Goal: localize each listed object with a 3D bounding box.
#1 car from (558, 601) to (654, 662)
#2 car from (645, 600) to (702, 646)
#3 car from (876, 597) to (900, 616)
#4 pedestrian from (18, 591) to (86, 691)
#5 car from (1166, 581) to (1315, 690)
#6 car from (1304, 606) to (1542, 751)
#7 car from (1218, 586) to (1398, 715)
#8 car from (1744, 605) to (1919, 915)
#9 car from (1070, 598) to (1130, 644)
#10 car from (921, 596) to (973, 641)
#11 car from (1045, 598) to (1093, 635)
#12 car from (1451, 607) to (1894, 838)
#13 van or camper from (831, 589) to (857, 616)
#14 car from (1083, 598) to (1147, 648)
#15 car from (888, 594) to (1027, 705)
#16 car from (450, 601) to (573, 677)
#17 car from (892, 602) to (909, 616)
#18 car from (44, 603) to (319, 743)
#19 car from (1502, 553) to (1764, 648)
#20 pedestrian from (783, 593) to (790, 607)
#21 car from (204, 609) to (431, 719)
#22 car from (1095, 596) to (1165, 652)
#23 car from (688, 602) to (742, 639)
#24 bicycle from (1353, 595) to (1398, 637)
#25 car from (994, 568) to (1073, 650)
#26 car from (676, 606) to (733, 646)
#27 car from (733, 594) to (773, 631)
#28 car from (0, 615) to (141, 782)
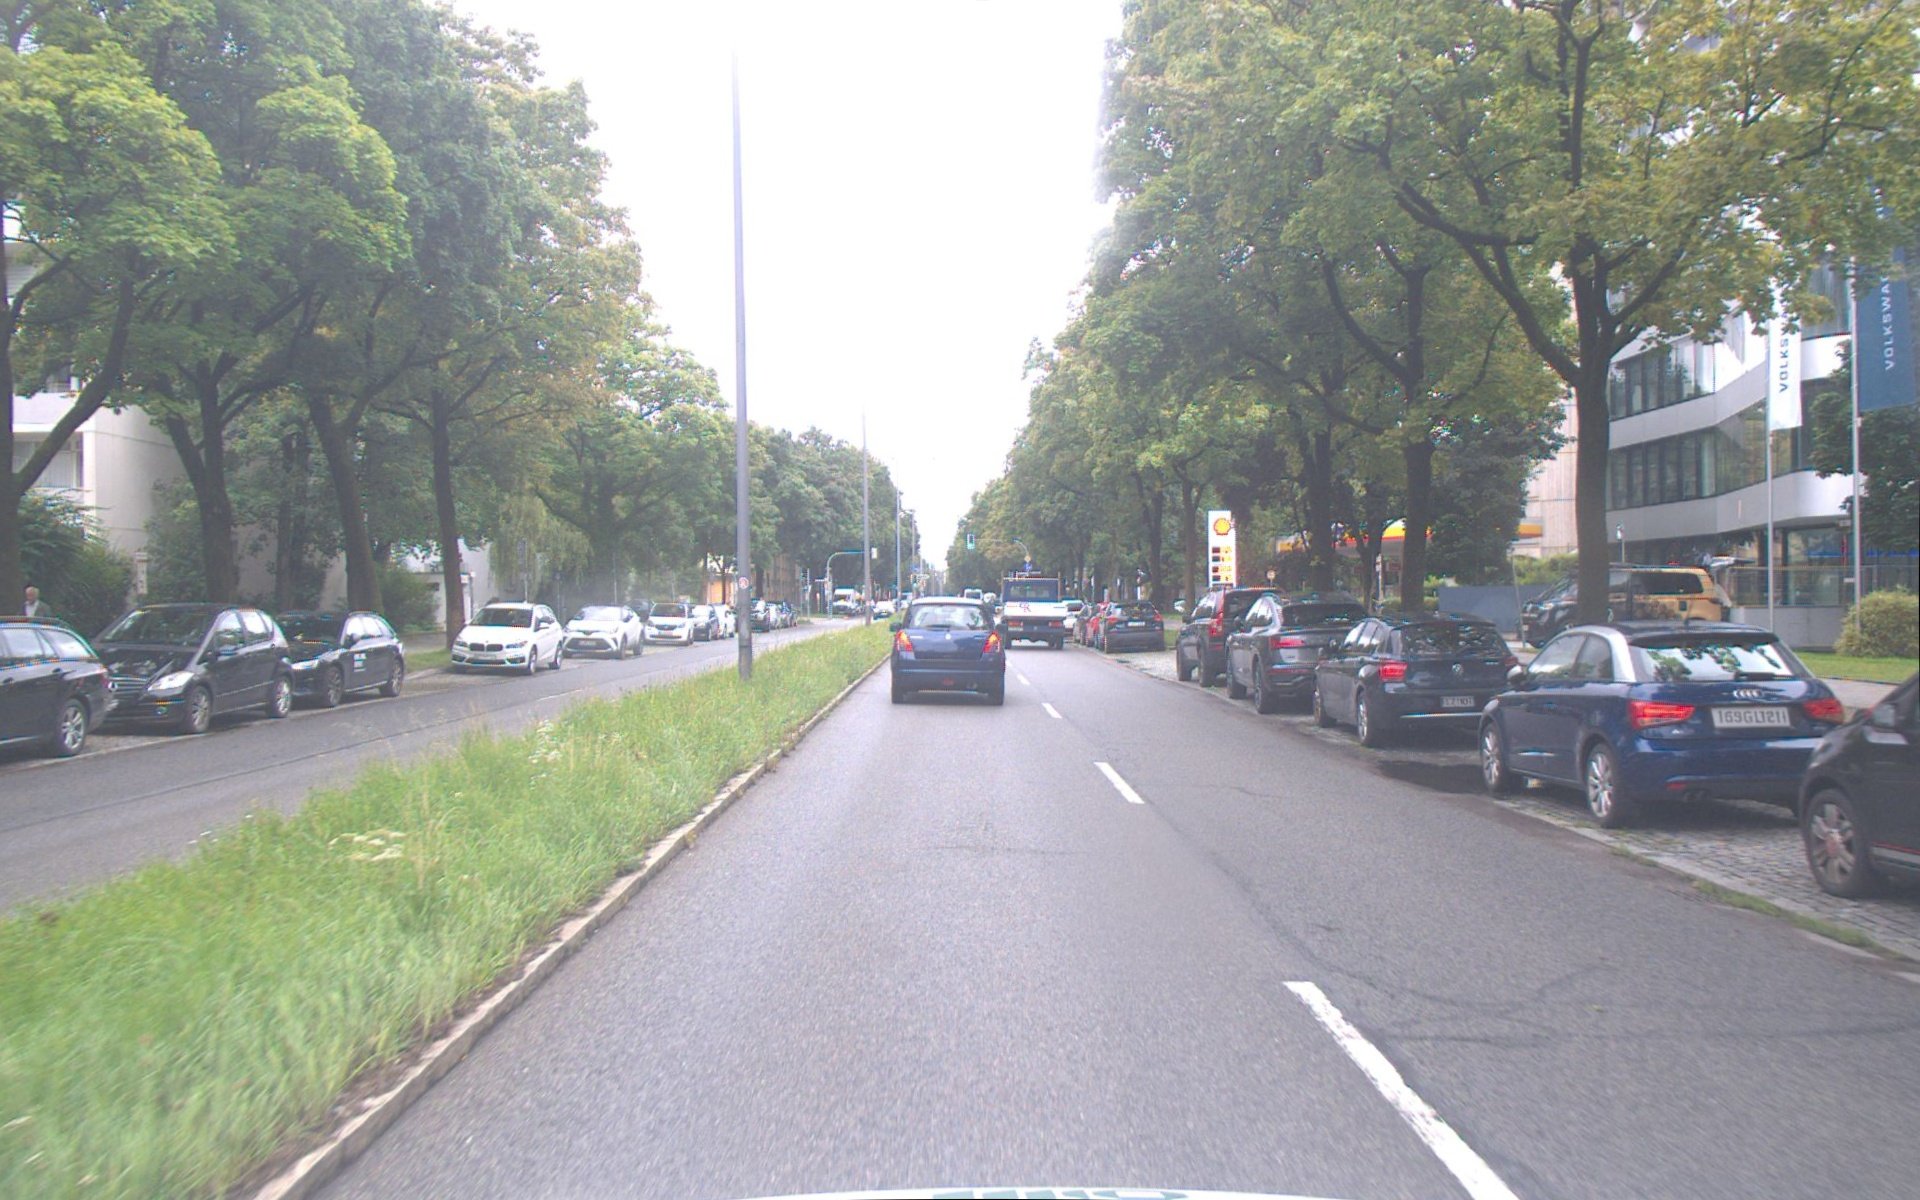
[{"bbox_3d":[-10.389,0.883,48.821,1.795,1.637,4.491,2,0,0],"label":"car"},{"bbox_3d":[-10.701,0.850,61.875,1.657,1.593,3.078,2,0,-3],"label":"car"},{"bbox_3d":[-5.742,0.520,131.664,1.703,1.465,4.215,-1,0,0],"label":"car"},{"bbox_3d":[-15.688,0.697,28.590,0.832,1.685,0.608,-1,0,-4],"label":"pedestrian"},{"bbox_3d":[5.133,0.610,30.904,1.854,1.831,4.860,-1,0,-1],"label":"car"},{"bbox_3d":[5.281,0.827,19.471,1.666,1.433,4.514,-1,0,2],"label":"car"},{"bbox_3d":[5.094,0.670,24.837,1.775,1.705,4.801,-1,0,2],"label":"car"},{"bbox_3d":[5.483,0.774,7.784,1.667,1.472,3.978,-1,0,0],"label":"car"},{"bbox_3d":[4.957,0.714,59.029,1.641,1.479,4.582,-3,0,-1],"label":"car"},{"bbox_3d":[-0.471,0.638,59.409,1.762,1.525,3.659,-1,0,-1],"label":"car"},{"bbox_3d":[4.784,0.709,73.274,1.725,1.479,4.632,-3,0,-1],"label":"car"},{"bbox_3d":[5.316,0.818,12.979,1.667,1.446,4.120,-1,0,0],"label":"car"},{"bbox_3d":[-11.250,0.250,160.747,2.096,2.519,6.258,-1,0,0],"label":"van or camper"},{"bbox_3d":[5.066,0.721,54.606,1.641,1.527,4.021,-3,0,-1],"label":"car"},{"bbox_3d":[-0.111,0.688,24.884,1.858,1.525,3.657,1,0,-3],"label":"car"},{"bbox_3d":[-10.464,0.872,38.920,1.721,1.622,4.488,2,0,-2],"label":"car"},{"bbox_3d":[-6.419,0.983,178.429,1.702,1.467,4.102,-1,0,-1],"label":"car"},{"bbox_3d":[-10.276,0.890,22.210,1.651,1.625,4.210,2,0,0],"label":"car"},{"bbox_3d":[15.912,0.011,39.297,5.359,2.120,2.146,-1,0,-1],"label":"car"},{"bbox_3d":[-18.295,0.000,174.037,0.616,1.465,0.806,1,-1,0],"label":"pedestrian"},{"bbox_3d":[-10.303,0.959,26.962,1.724,1.540,4.947,2,0,0],"label":"car"},{"bbox_3d":[5.112,0.697,50.145,1.743,1.537,4.285,-3,0,1],"label":"car"},{"bbox_3d":[-10.698,0.877,72.397,1.640,1.468,4.320,2,0,0],"label":"car"},{"bbox_3d":[12.444,0.465,49.613,0.733,1.203,2.246,-1,0,-1],"label":"bicycle"},{"bbox_3d":[2.306,0.260,53.146,2.369,2.487,5.087,1,0,1],"label":"car"},{"bbox_3d":[-10.362,1.038,67.301,1.640,1.501,4.215,2,0,0],"label":"car"},{"bbox_3d":[-10.707,0.630,85.859,1.761,1.794,5.053,2,0,-4],"label":"car"},{"bbox_3d":[-10.283,0.986,16.550,1.681,1.551,5.033,2,0,-1],"label":"car"}]
